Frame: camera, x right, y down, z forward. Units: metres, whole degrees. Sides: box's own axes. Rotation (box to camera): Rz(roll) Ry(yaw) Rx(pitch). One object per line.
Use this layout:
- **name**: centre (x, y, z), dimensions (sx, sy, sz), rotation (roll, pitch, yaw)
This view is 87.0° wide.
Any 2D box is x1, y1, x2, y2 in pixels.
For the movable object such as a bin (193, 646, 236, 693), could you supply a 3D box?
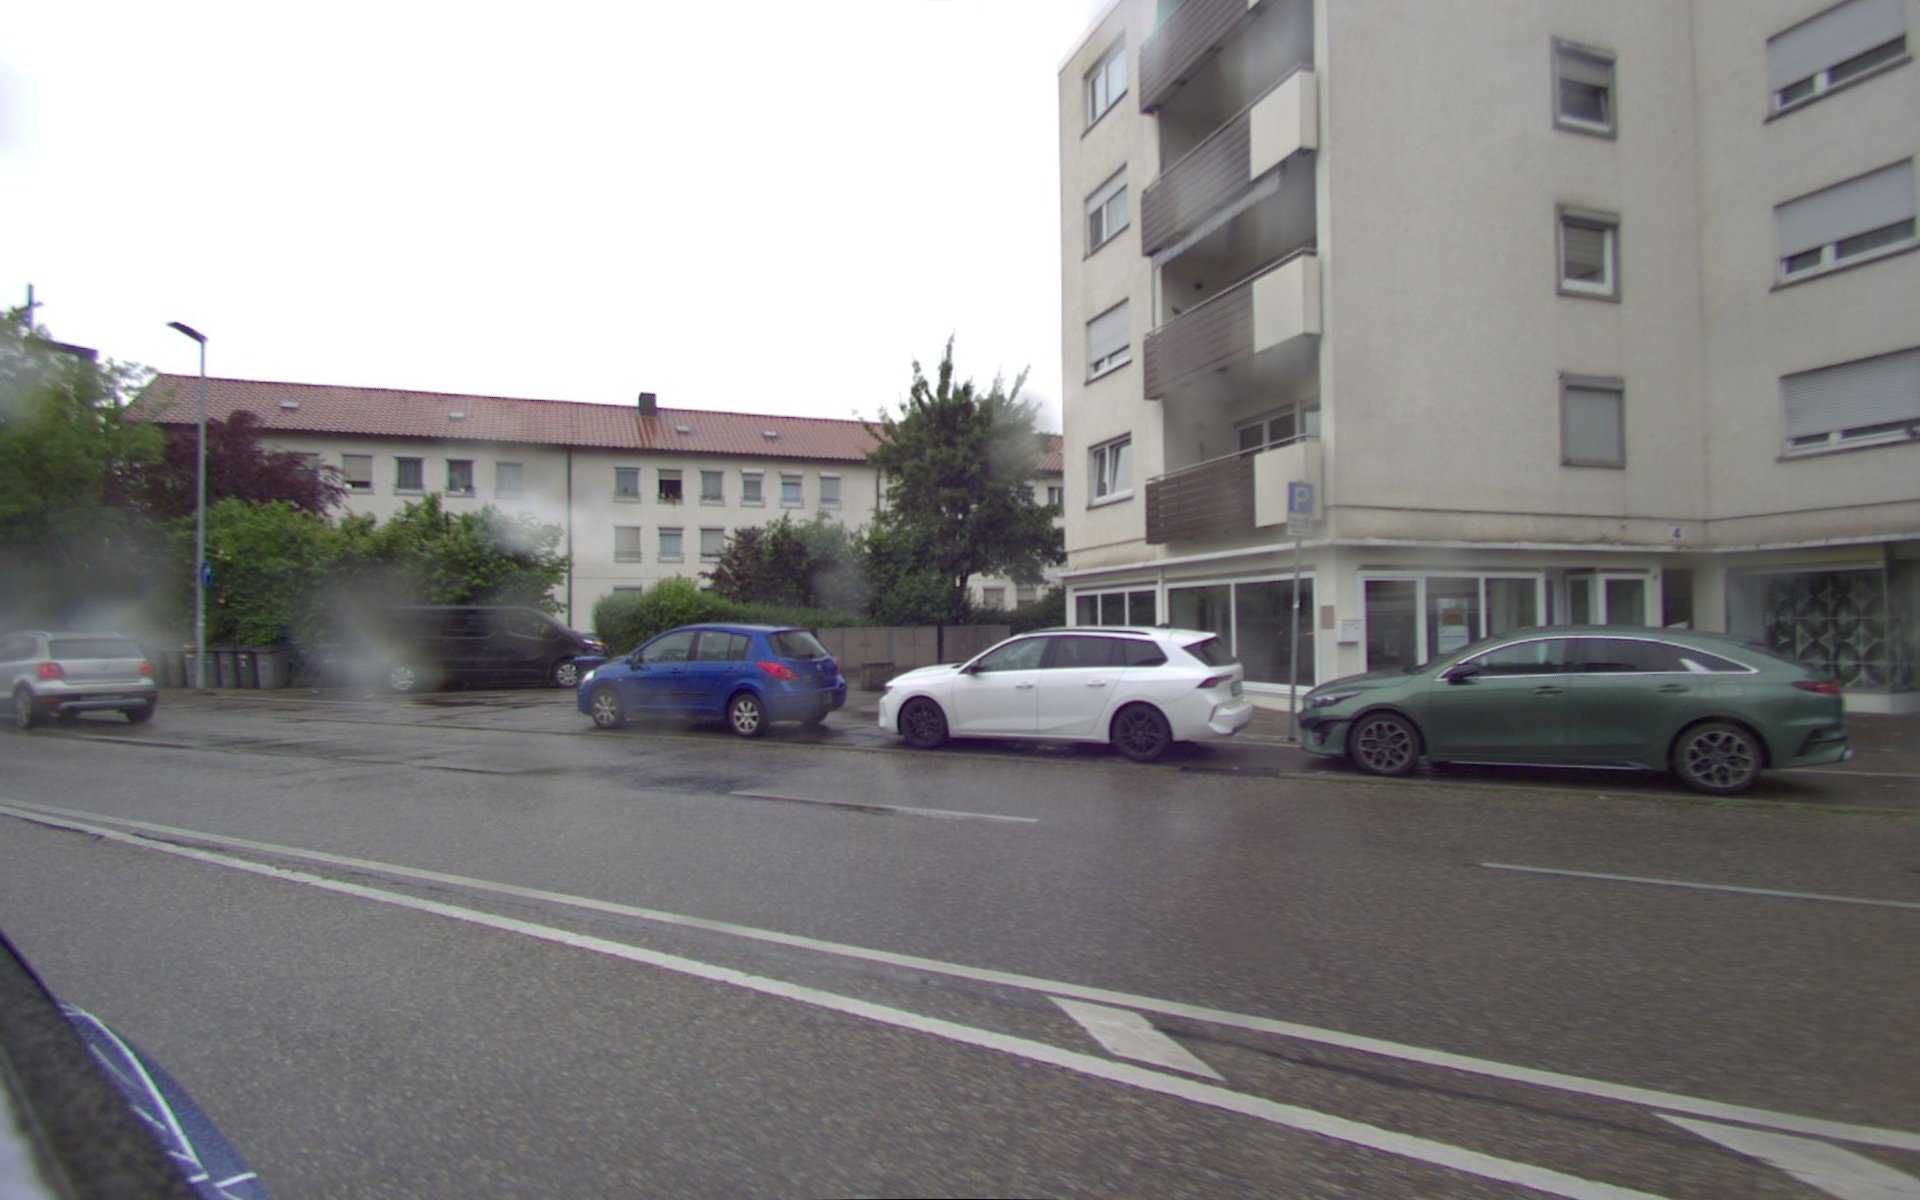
- **movable object such as a bin**: centre (-18.199, 1.698, 24.719), dimensions (0.595, 1.127, 0.598), rotation (-1, -2, 14)

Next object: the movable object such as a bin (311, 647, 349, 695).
- **movable object such as a bin**: centre (-15.136, 1.695, 24.323), dimensions (0.592, 1.127, 0.602), rotation (0, -2, -10)

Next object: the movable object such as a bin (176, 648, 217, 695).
- **movable object such as a bin**: centre (-18.791, 1.746, 24.906), dimensions (0.597, 1.127, 0.596), rotation (-2, -2, 24)

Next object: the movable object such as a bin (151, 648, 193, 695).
- **movable object such as a bin**: centre (-19.442, 1.748, 24.979), dimensions (0.597, 1.127, 0.596), rotation (-1, -2, 24)

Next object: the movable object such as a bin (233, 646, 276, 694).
- **movable object such as a bin**: centre (-17.012, 1.674, 24.401), dimensions (0.595, 1.127, 0.598), rotation (-1, -2, 14)

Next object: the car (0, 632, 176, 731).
- **car**: centre (-14.868, 1.306, 16.542), dimensions (3.822, 1.450, 1.813), rotation (-2, -4, 28)

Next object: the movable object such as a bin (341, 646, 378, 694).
- **movable object such as a bin**: centre (-14.569, 1.681, 24.555), dimensions (0.592, 1.127, 0.602), rotation (0, -2, -10)

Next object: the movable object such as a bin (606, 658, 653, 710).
- **movable object such as a bin**: centre (-6.025, 1.513, 18.439), dimensions (0.595, 0.910, 0.570), rotation (-2, -2, 27)

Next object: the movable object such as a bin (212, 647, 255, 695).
- **movable object such as a bin**: centre (-17.613, 1.709, 24.557), dimensions (0.595, 1.127, 0.598), rotation (-1, -2, 14)

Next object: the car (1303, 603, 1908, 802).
- **car**: centre (5.837, 0.870, 9.834), dimensions (4.498, 1.553, 1.923), rotation (-2, -1, 27)

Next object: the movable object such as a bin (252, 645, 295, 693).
- **movable object such as a bin**: centre (-16.417, 1.653, 24.218), dimensions (0.595, 1.127, 0.598), rotation (-1, -2, 14)

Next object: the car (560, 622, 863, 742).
- **car**: centre (-3.674, 1.133, 14.804), dimensions (4.302, 1.532, 1.642), rotation (-2, -1, 27)

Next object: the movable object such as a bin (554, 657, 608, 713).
- **movable object such as a bin**: centre (-6.842, 1.525, 18.277), dimensions (0.679, 0.973, 0.644), rotation (-2, -2, 27)

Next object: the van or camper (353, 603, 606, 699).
- **van or camper**: centre (-11.091, 1.158, 23.802), dimensions (5.128, 1.939, 2.006), rotation (-2, -2, -18)

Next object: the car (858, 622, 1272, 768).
- **car**: centre (1.194, 1.040, 12.172), dimensions (4.660, 1.475, 1.683), rotation (-2, -1, 27)

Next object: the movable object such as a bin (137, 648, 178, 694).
- **movable object such as a bin**: centre (-20.004, 1.760, 25.239), dimensions (0.597, 1.127, 0.596), rotation (-1, -2, 24)
